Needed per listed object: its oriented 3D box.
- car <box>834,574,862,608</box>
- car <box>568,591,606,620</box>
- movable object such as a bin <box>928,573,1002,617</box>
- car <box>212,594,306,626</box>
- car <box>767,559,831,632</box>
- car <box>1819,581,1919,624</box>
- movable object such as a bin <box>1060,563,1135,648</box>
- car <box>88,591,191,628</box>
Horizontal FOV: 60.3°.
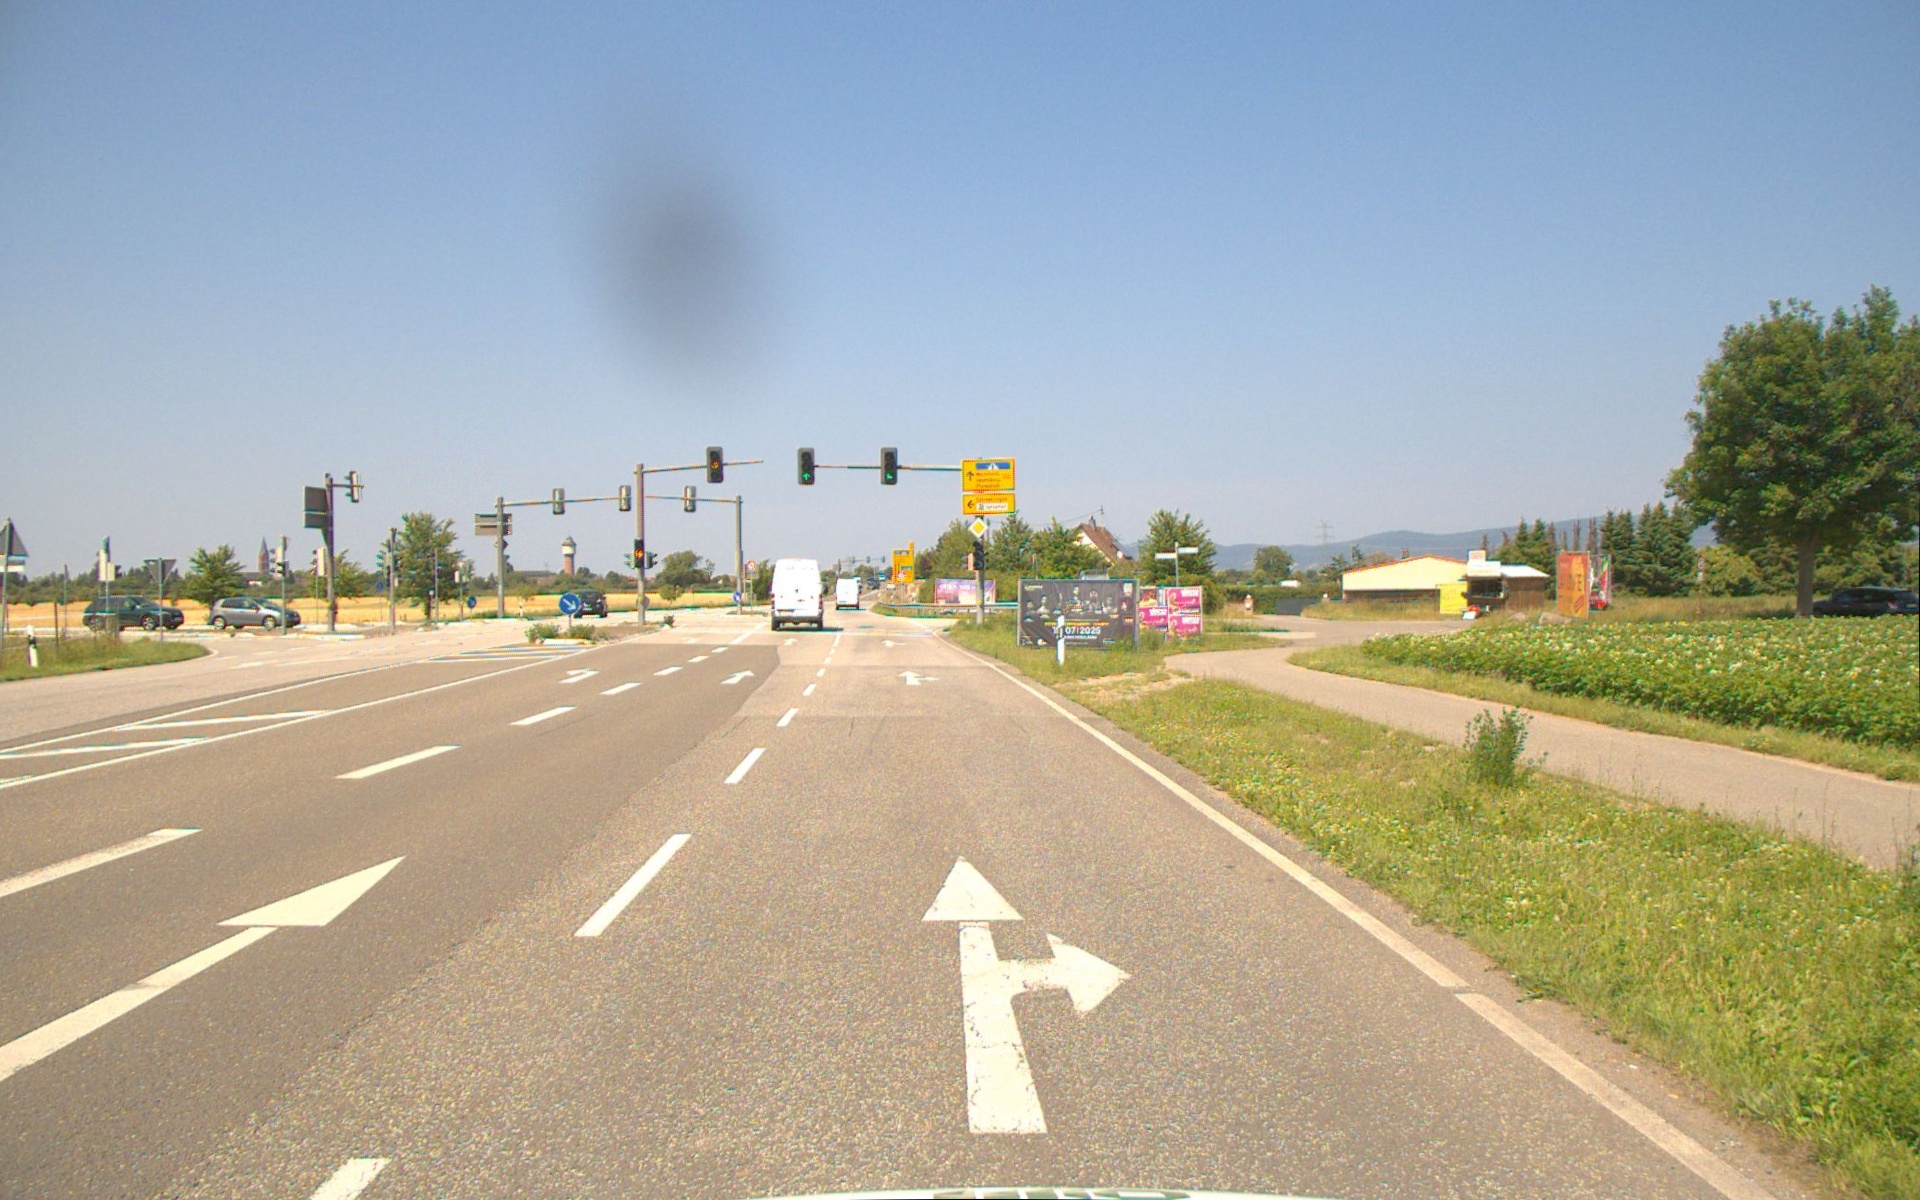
[{"bbox_3d":[-9.380,-0.740,138.554,1.953,2.742,4.968,1,-1,0],"label":"car"},{"bbox_3d":[-21.749,0.341,96.541,1.796,1.628,4.298,-1,0,-8],"label":"car"},{"bbox_3d":[0.295,-0.270,93.566,4.017,2.372,1.275,1,-1,-8],"label":"movable object such as a bin"},{"bbox_3d":[-32.867,0.461,77.595,3.785,1.411,1.636,0,1,9],"label":"car"},{"bbox_3d":[-6.173,-0.207,63.934,1.998,2.665,5.739,1,0,-1],"label":"car"},{"bbox_3d":[34.039,0.070,62.016,1.720,1.554,3.883,0,0,1],"label":"car"},{"bbox_3d":[4.158,0.177,49.439,1.489,2.404,4.427,1,0,14],"label":"movable object such as a bin"},{"bbox_3d":[-39.034,0.458,78.699,4.262,1.622,1.636,-2,0,12],"label":"car"}]
